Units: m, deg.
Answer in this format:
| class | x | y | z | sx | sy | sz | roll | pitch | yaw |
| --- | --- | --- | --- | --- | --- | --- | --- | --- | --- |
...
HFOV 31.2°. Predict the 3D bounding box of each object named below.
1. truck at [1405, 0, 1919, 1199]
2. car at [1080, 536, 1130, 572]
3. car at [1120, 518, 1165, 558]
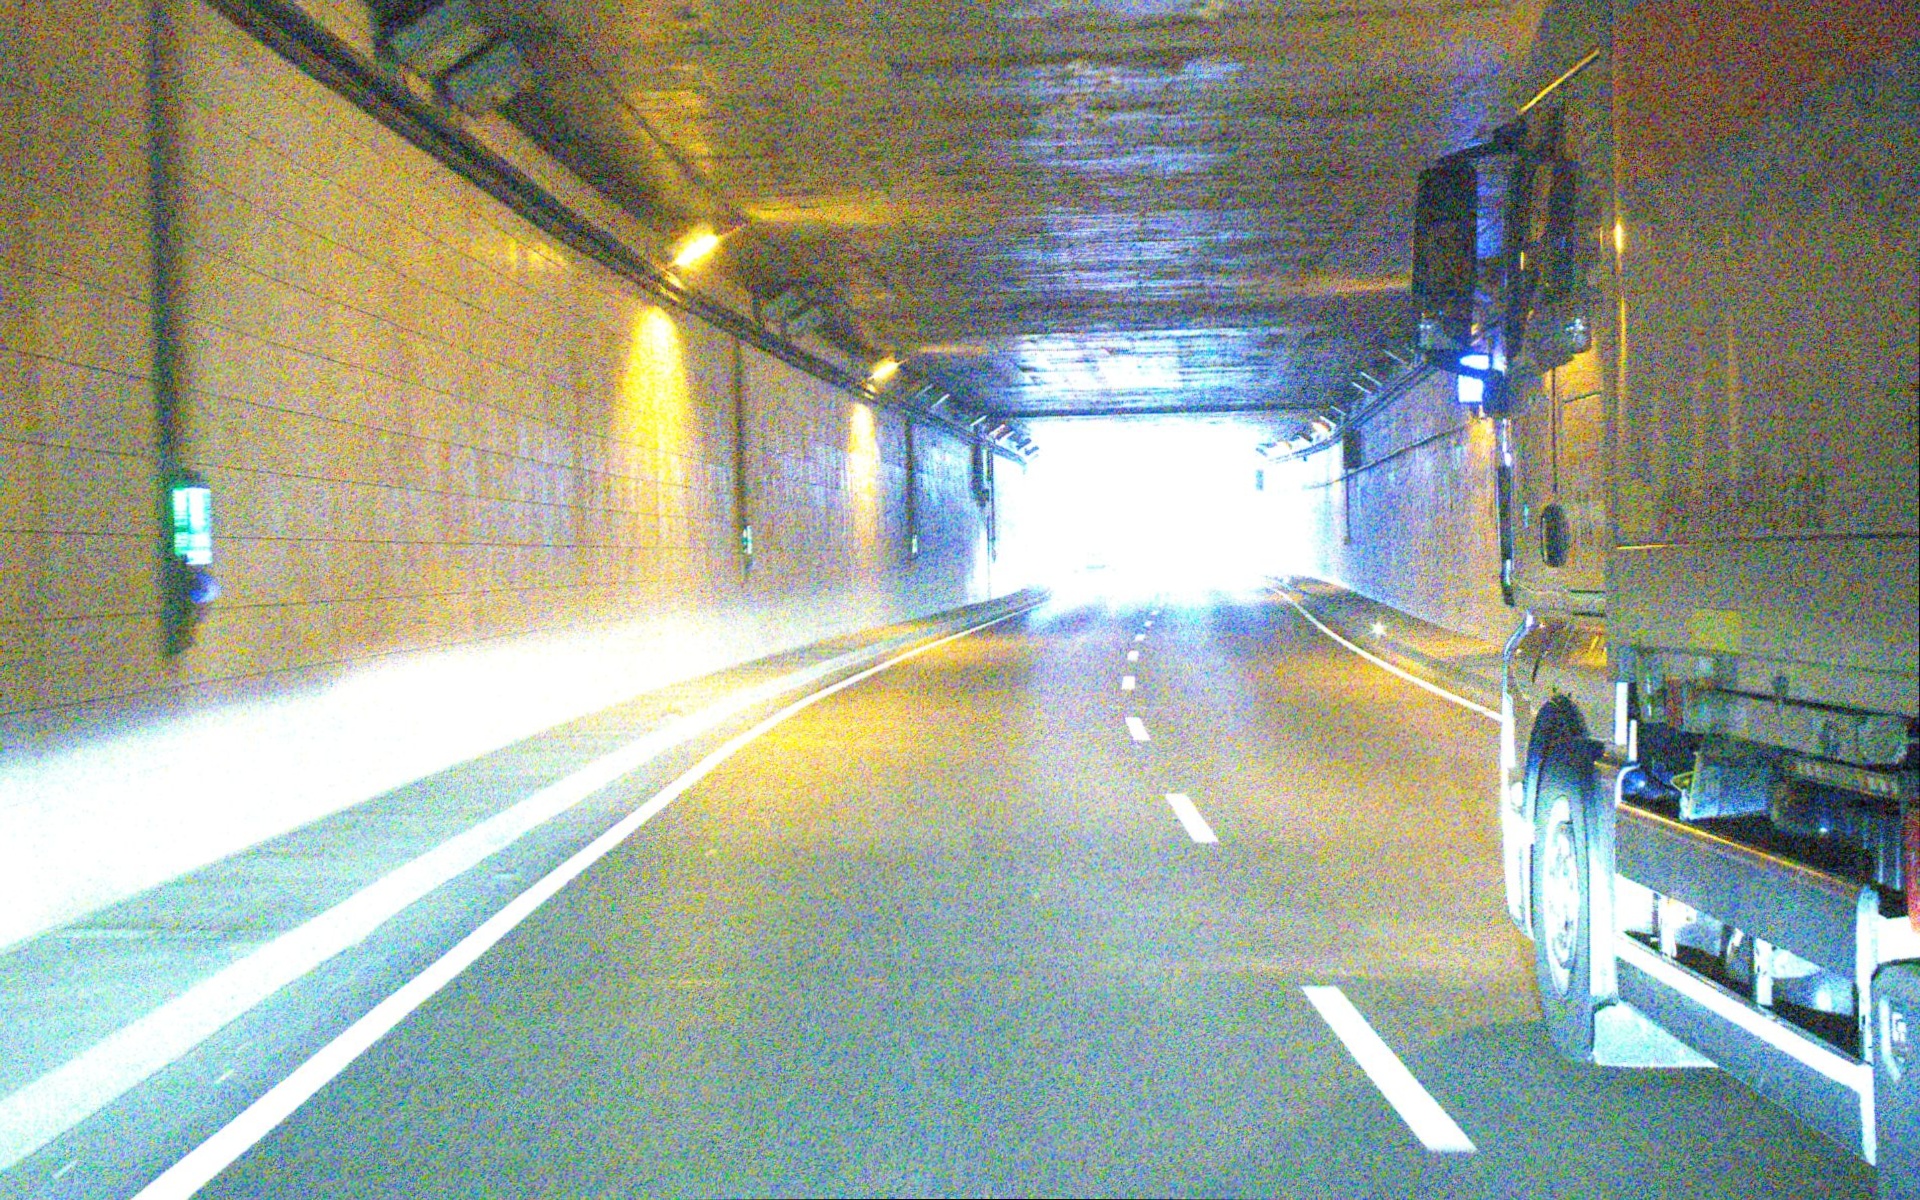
| class | x | y | z | sx | sy | sz | roll | pitch | yaw |
| --- | --- | --- | --- | --- | --- | --- | --- | --- | --- |
| truck | 3.007 | -0.565 | 6.531 | 2.888 | 3.900 | 9.910 | -1 | 1 | -1 |
| car | 5.770 | -1.834 | 136.516 | 1.841 | 1.384 | 4.000 | -1 | 1 | 4 |
| car | 8.147 | -2.777 | 153.779 | 1.869 | 1.726 | 4.000 | -1 | 1 | 1 |
